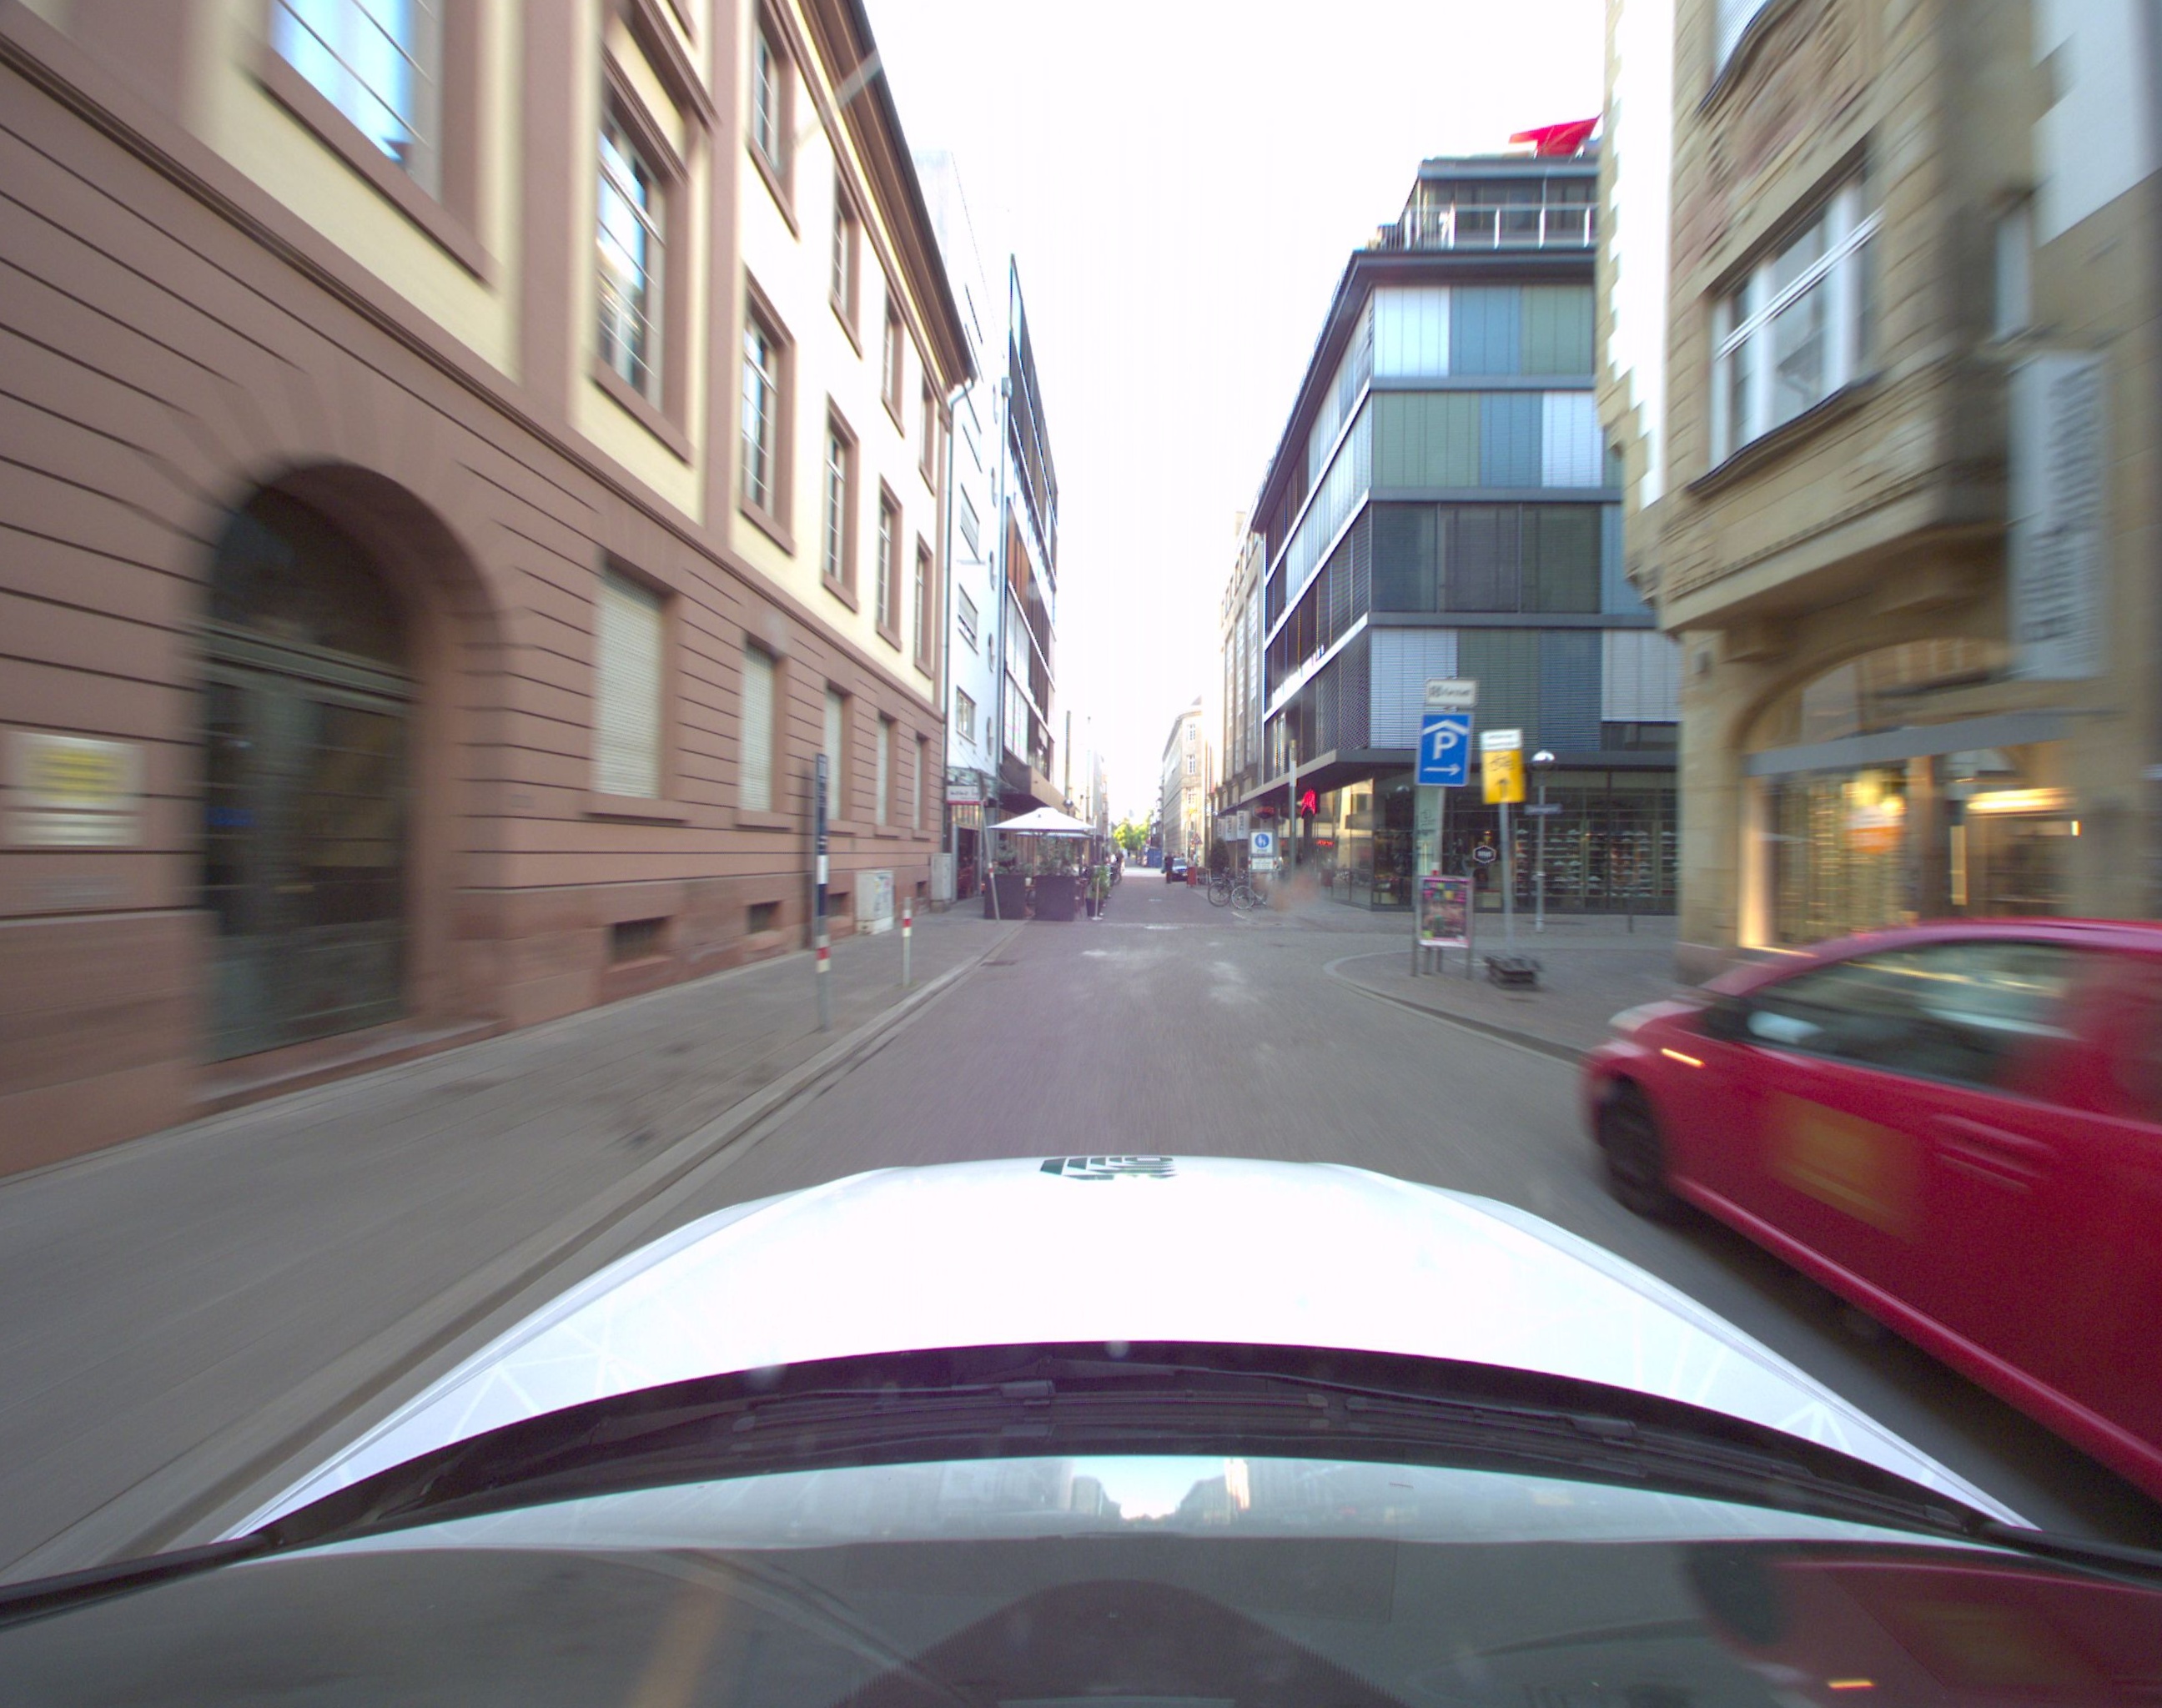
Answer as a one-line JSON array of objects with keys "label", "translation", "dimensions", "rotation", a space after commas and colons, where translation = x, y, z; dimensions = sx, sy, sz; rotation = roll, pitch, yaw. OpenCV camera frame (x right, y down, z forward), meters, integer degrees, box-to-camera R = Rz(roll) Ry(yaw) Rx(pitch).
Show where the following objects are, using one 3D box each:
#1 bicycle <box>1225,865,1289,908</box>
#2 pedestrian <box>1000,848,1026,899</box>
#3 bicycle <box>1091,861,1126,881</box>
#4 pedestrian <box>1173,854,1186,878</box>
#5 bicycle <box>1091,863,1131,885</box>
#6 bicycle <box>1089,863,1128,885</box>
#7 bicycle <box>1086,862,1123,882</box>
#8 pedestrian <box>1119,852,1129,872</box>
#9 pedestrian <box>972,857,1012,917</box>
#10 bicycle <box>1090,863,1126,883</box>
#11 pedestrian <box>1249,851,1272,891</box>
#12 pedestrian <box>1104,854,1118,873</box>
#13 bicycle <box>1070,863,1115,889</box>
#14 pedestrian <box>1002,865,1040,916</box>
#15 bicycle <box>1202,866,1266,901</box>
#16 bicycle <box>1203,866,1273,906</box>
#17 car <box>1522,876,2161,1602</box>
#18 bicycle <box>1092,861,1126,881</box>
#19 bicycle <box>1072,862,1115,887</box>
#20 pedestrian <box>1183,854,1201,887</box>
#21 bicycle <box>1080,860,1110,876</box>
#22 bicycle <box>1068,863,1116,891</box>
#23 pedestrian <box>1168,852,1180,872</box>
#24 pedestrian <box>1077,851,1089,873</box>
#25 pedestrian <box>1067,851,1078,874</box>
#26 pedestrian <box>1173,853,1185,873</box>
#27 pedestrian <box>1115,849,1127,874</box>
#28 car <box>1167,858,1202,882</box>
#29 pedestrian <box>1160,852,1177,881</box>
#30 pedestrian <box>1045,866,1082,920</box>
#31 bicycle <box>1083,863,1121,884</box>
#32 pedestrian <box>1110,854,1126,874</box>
[{"label": "bicycle", "translation": [4.916, 0.914, 22.814], "dimensions": [1.690, 1.136, 0.467], "rotation": [-2, 0, 2]}, {"label": "pedestrian", "translation": [-2.220, 0.631, 26.628], "dimensions": [0.788, 1.648, 0.725], "rotation": [0, 0, -3]}, {"label": "bicycle", "translation": [1.681, 1.017, 49.011], "dimensions": [2.040, 1.095, 0.467], "rotation": [3, 0, 2]}, {"label": "pedestrian", "translation": [7.398, 0.896, 61.334], "dimensions": [0.901, 1.859, 0.836], "rotation": [0, 0, 1]}, {"label": "bicycle", "translation": [1.555, 1.047, 42.434], "dimensions": [2.040, 1.016, 0.467], "rotation": [3, 0, 2]}, {"label": "bicycle", "translation": [1.480, 1.066, 43.533], "dimensions": [2.040, 1.016, 0.467], "rotation": [3, 0, 2]}, {"label": "bicycle", "translation": [1.361, 1.031, 46.482], "dimensions": [2.040, 1.050, 0.467], "rotation": [3, 0, 2]}, {"label": "pedestrian", "translation": [3.986, 0.713, 75.927], "dimensions": [0.900, 1.859, 0.836], "rotation": [0, 0, 3]}, {"label": "pedestrian", "translation": [-2.040, 0.752, 18.736], "dimensions": [0.787, 1.331, 0.674], "rotation": [2, -1, 1]}, {"label": "bicycle", "translation": [1.576, 1.106, 47.852], "dimensions": [2.040, 1.050, 0.467], "rotation": [3, 0, 2]}, {"label": "pedestrian", "translation": [7.253, 0.683, 32.983], "dimensions": [0.793, 1.565, 0.860], "rotation": [0, 0, 5]}, {"label": "pedestrian", "translation": [2.687, 0.845, 72.572], "dimensions": [0.853, 1.734, 0.940], "rotation": [0, 0, 35]}, {"label": "bicycle", "translation": [0.524, 0.995, 36.613], "dimensions": [1.940, 1.074, 0.467], "rotation": [3, 0, 2]}, {"label": "pedestrian", "translation": [-1.434, 0.862, 19.533], "dimensions": [0.787, 1.183, 0.674], "rotation": [2, 0, 1]}, {"label": "bicycle", "translation": [5.070, 0.977, 27.036], "dimensions": [2.026, 1.121, 0.467], "rotation": [-2, 0, 2]}, {"label": "bicycle", "translation": [4.681, 0.959, 24.376], "dimensions": [2.001, 1.121, 0.467], "rotation": [-2, 0, 2]}, {"label": "car", "translation": [3.129, 0.883, 2.594], "dimensions": [1.607, 1.425, 3.601], "rotation": [4, 0, 4]}, {"label": "bicycle", "translation": [1.705, 1.052, 49.851], "dimensions": [2.040, 1.095, 0.467], "rotation": [3, 0, 2]}, {"label": "bicycle", "translation": [0.586, 0.959, 38.302], "dimensions": [1.940, 1.074, 0.467], "rotation": [3, 0, 2]}, {"label": "pedestrian", "translation": [5.434, 0.792, 39.853], "dimensions": [0.794, 1.565, 0.860], "rotation": [0, 0, 3]}, {"label": "bicycle", "translation": [0.972, 0.951, 56.016], "dimensions": [2.040, 1.013, 0.467], "rotation": [3, 0, 2]}, {"label": "bicycle", "translation": [0.476, 0.970, 34.416], "dimensions": [1.940, 1.074, 0.467], "rotation": [3, 0, 2]}, {"label": "pedestrian", "translation": [7.685, 0.675, 67.306], "dimensions": [0.901, 1.661, 0.793], "rotation": [0, 0, 0]}, {"label": "pedestrian", "translation": [0.184, 0.700, 69.050], "dimensions": [1.021, 1.859, 0.907], "rotation": [0, 0, 3]}, {"label": "pedestrian", "translation": [-0.704, 0.702, 68.499], "dimensions": [0.900, 1.859, 0.836], "rotation": [0, 0, 3]}, {"label": "pedestrian", "translation": [8.004, 0.726, 66.579], "dimensions": [0.901, 1.661, 0.793], "rotation": [0, 0, 0]}, {"label": "pedestrian", "translation": [2.924, 0.543, 59.632], "dimensions": [0.830, 1.859, 0.907], "rotation": [0, 0, 1]}, {"label": "car", "translation": [6.462, 0.966, 51.311], "dimensions": [1.748, 1.441, 3.928], "rotation": [0, 0, 0]}, {"label": "pedestrian", "translation": [5.066, 0.730, 47.220], "dimensions": [0.895, 1.661, 0.931], "rotation": [0, 0, 4]}, {"label": "pedestrian", "translation": [-0.403, 0.887, 18.710], "dimensions": [0.788, 1.183, 0.673], "rotation": [2, 0, -3]}, {"label": "bicycle", "translation": [1.182, 1.057, 45.163], "dimensions": [2.040, 1.050, 0.467], "rotation": [3, 0, 2]}, {"label": "pedestrian", "translation": [3.292, 0.839, 71.791], "dimensions": [0.999, 1.734, 0.987], "rotation": [0, 0, 35]}]
